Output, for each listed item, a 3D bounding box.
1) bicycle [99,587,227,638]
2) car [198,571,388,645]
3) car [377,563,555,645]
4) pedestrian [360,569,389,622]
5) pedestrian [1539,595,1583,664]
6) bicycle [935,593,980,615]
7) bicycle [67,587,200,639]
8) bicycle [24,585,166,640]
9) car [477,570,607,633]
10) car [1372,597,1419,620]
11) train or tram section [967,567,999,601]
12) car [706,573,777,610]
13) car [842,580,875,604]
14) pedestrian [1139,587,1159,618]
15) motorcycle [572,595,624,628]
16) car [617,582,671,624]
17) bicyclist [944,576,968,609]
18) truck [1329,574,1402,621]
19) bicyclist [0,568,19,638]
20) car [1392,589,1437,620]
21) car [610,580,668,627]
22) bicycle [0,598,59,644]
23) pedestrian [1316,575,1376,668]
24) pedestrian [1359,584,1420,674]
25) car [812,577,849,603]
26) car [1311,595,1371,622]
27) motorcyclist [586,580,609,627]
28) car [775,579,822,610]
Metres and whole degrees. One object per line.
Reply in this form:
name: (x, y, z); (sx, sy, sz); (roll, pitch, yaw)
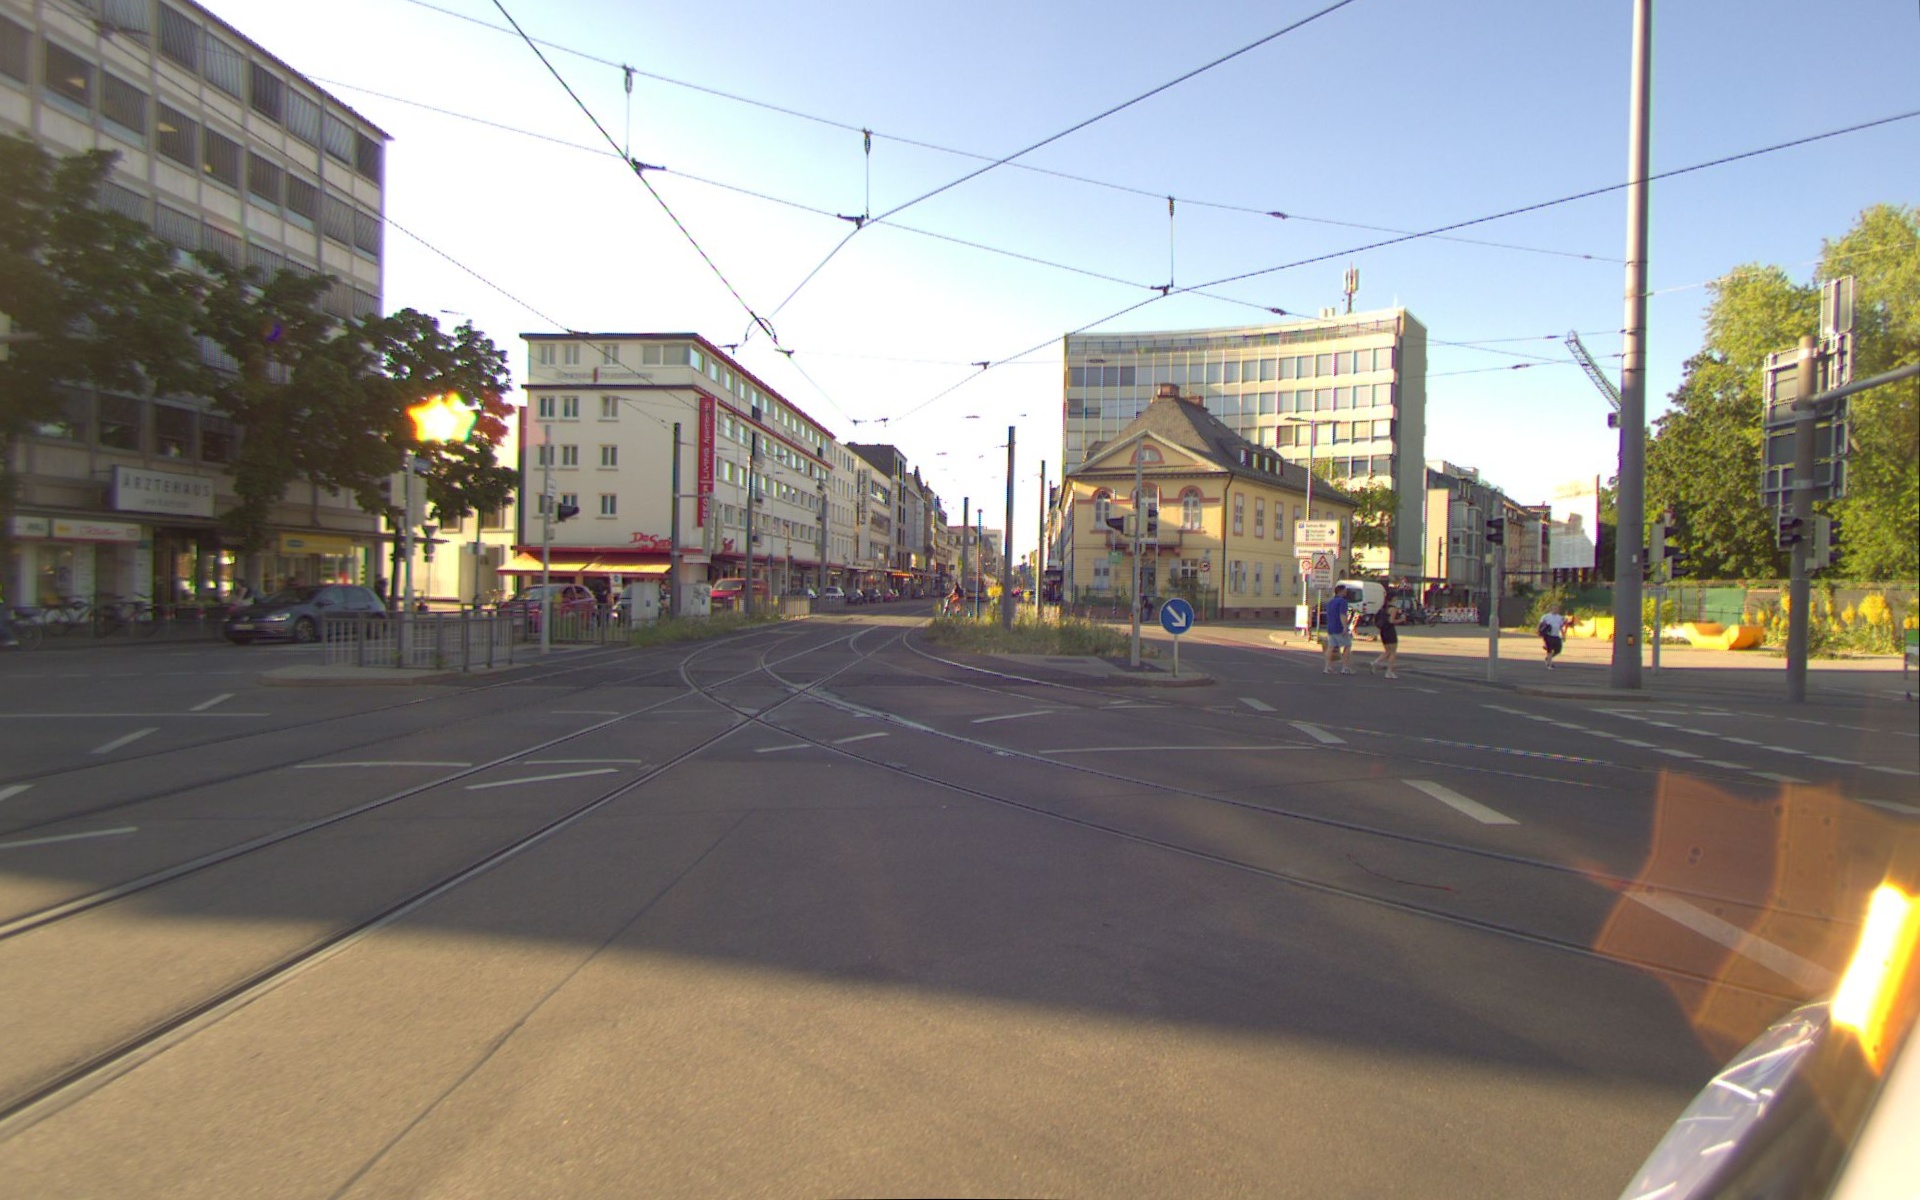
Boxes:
bicycle: (-21.063, 0.337, 26.790); (2.587, 1.158, 0.752); (4, -1, -6)
car: (-16.322, 0.200, 25.046); (1.811, 1.638, 4.075); (1, -1, 4)
car: (-10.888, 0.099, 22.660); (1.811, 1.638, 3.995); (1, -1, 4)
pedestrian: (-22.525, -0.178, 38.912); (0.706, 2.039, 0.623); (0, -1, 20)
pedestrian: (15.889, 0.760, 26.782); (0.750, 1.785, 1.002); (1, -1, 16)
bicycle: (-0.117, 0.183, 46.897); (1.950, 0.960, 0.725); (1, -1, -24)
bicycle: (-21.001, 0.328, 25.751); (2.587, 1.158, 0.752); (4, -1, -6)
bicycle: (-20.947, 0.309, 24.551); (2.587, 1.158, 0.752); (4, -1, -6)
car: (-11.755, 0.068, 28.779); (1.811, 1.638, 3.995); (1, -1, 4)
car: (27.531, 0.568, 63.960); (1.707, 1.382, 3.705); (0, -1, 41)
train or tram section: (2.772, -2.010, 124.800); (3.645, 3.881, 13.360); (1, 1, 0)
car: (-11.452, -0.416, 53.440); (1.875, 1.866, 4.607); (1, -1, 13)
car: (-9.221, -0.715, 92.144); (1.965, 2.039, 4.864); (1, -1, 6)
pedestrian: (10.226, 0.144, 54.805); (0.801, 1.663, 0.687); (1, -1, -26)
motorcycle: (-11.735, 0.374, 32.882); (0.525, 1.014, 2.667); (1, -1, 4)
car: (-13.208, 0.136, 42.523); (1.805, 1.638, 4.007); (1, -1, -12)
bicyclist: (-0.187, -0.340, 46.862); (0.879, 1.476, 0.725); (1, -1, -25)
truck: (23.930, -0.109, 59.591); (2.291, 2.581, 5.555); (0, -1, 41)
bicyclist: (-19.880, 0.055, 20.653); (0.658, 1.442, 0.681); (1, -1, -1)
car: (30.239, 0.331, 67.298); (1.707, 2.006, 3.705); (0, -1, 41)
car: (-11.791, 0.141, 37.389); (1.805, 1.638, 4.008); (1, -1, -14)
bicycle: (-19.876, 0.427, 20.959); (0.658, 0.952, 2.031); (1, -1, -1)
pedestrian: (7.835, 0.431, 20.541); (1.023, 1.816, 0.697); (2, -1, -38)
pedestrian: (8.443, 0.559, 19.905); (1.023, 1.704, 0.697); (2, -1, -38)
car: (-10.664, -0.819, 83.459); (1.965, 2.039, 4.864); (1, -1, 6)
car: (20.703, 0.475, 54.953); (1.707, 1.382, 4.132); (0, -1, 41)
motorcyclist: (-11.740, 0.117, 32.799); (0.525, 1.528, 0.461); (1, -1, 5)
car: (-11.018, -0.358, 69.358); (1.965, 2.039, 4.864); (1, -1, 6)
